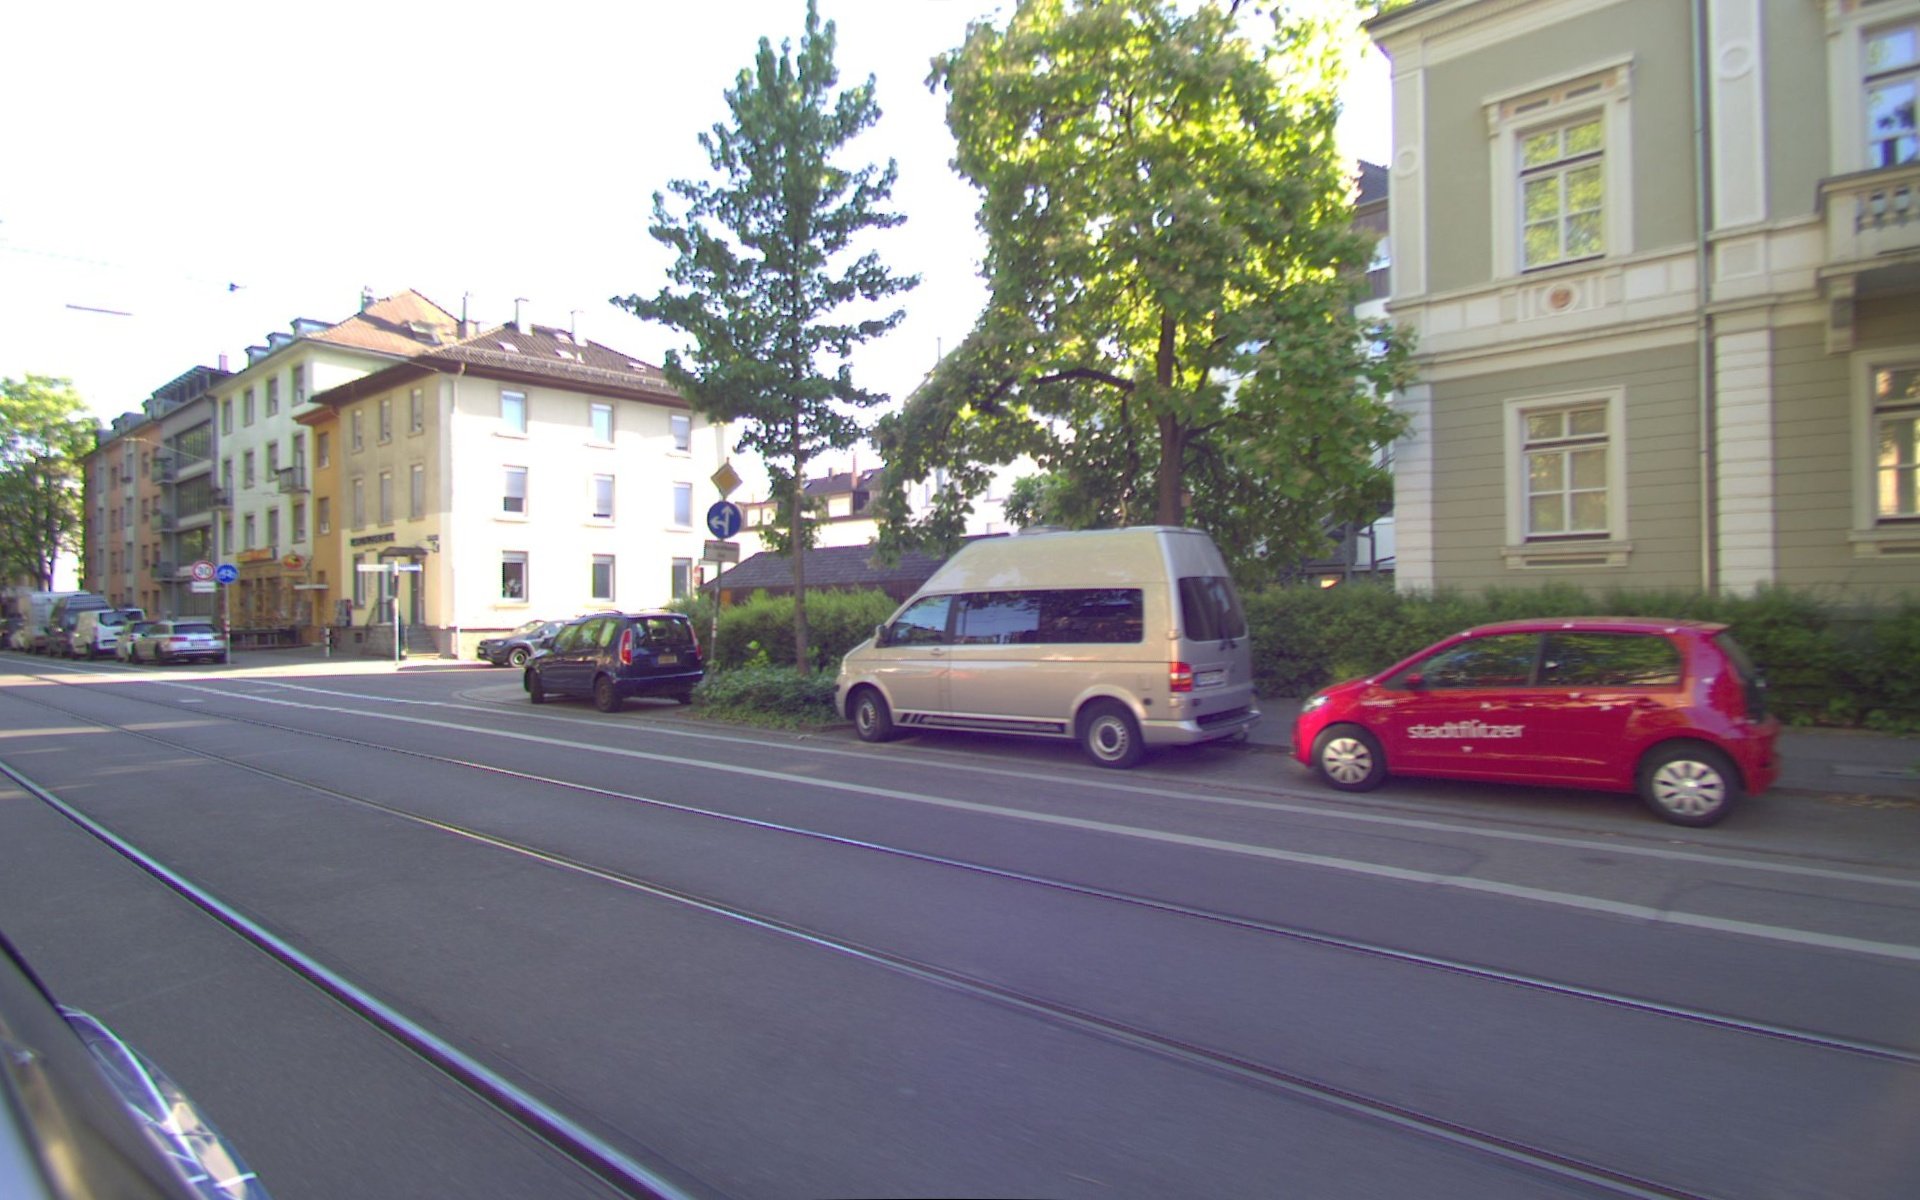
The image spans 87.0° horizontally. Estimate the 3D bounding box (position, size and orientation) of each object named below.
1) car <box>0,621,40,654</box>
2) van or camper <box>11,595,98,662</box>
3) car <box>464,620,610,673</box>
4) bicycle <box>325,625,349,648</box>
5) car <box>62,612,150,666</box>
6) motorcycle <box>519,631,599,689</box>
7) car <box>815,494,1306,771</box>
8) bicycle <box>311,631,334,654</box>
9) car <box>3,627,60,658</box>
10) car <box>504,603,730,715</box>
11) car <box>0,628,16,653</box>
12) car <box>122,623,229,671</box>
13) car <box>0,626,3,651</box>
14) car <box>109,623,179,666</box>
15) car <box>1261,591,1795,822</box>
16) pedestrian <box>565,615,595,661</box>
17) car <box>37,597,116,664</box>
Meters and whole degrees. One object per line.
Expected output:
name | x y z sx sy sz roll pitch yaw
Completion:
car | -54.073 2.122 57.672 4.430 1.767 1.769 -1 0 39
van or camper | -44.879 1.365 50.112 5.988 2.999 2.393 -1 3 41
car | -13.914 1.478 33.428 1.966 1.630 4.017 -1 -2 44
bicycle | -25.062 1.463 40.697 1.646 0.935 0.358 -1 -1 41
car | -35.244 1.568 41.710 4.936 2.062 1.904 -1 0 39
motorcycle | -8.553 1.274 21.540 2.149 1.148 0.665 -4 0 43
car | 0.978 0.347 11.827 5.337 2.527 2.281 -1 -1 39
bicycle | -26.345 1.760 41.816 1.646 0.935 0.358 -1 -1 41
car | -49.657 2.251 54.136 3.470 1.526 1.769 -1 0 39
car | -6.067 0.943 17.666 4.261 1.703 1.971 -1 -1 43
car | -61.589 2.572 64.326 4.430 1.482 1.769 -1 0 39
car | -27.166 1.592 34.991 4.934 1.504 1.754 -1 0 38
car | -65.208 2.578 67.248 4.430 1.682 1.769 -1 0 39
car | -30.717 1.654 38.072 2.881 1.504 1.555 -1 0 41
car | 4.679 0.750 8.616 3.704 1.551 1.668 -1 -1 40
pedestrian | -13.748 1.375 36.595 0.753 1.599 0.764 3 2 44
car | -39.788 1.334 45.552 4.543 2.766 1.904 -1 3 41
